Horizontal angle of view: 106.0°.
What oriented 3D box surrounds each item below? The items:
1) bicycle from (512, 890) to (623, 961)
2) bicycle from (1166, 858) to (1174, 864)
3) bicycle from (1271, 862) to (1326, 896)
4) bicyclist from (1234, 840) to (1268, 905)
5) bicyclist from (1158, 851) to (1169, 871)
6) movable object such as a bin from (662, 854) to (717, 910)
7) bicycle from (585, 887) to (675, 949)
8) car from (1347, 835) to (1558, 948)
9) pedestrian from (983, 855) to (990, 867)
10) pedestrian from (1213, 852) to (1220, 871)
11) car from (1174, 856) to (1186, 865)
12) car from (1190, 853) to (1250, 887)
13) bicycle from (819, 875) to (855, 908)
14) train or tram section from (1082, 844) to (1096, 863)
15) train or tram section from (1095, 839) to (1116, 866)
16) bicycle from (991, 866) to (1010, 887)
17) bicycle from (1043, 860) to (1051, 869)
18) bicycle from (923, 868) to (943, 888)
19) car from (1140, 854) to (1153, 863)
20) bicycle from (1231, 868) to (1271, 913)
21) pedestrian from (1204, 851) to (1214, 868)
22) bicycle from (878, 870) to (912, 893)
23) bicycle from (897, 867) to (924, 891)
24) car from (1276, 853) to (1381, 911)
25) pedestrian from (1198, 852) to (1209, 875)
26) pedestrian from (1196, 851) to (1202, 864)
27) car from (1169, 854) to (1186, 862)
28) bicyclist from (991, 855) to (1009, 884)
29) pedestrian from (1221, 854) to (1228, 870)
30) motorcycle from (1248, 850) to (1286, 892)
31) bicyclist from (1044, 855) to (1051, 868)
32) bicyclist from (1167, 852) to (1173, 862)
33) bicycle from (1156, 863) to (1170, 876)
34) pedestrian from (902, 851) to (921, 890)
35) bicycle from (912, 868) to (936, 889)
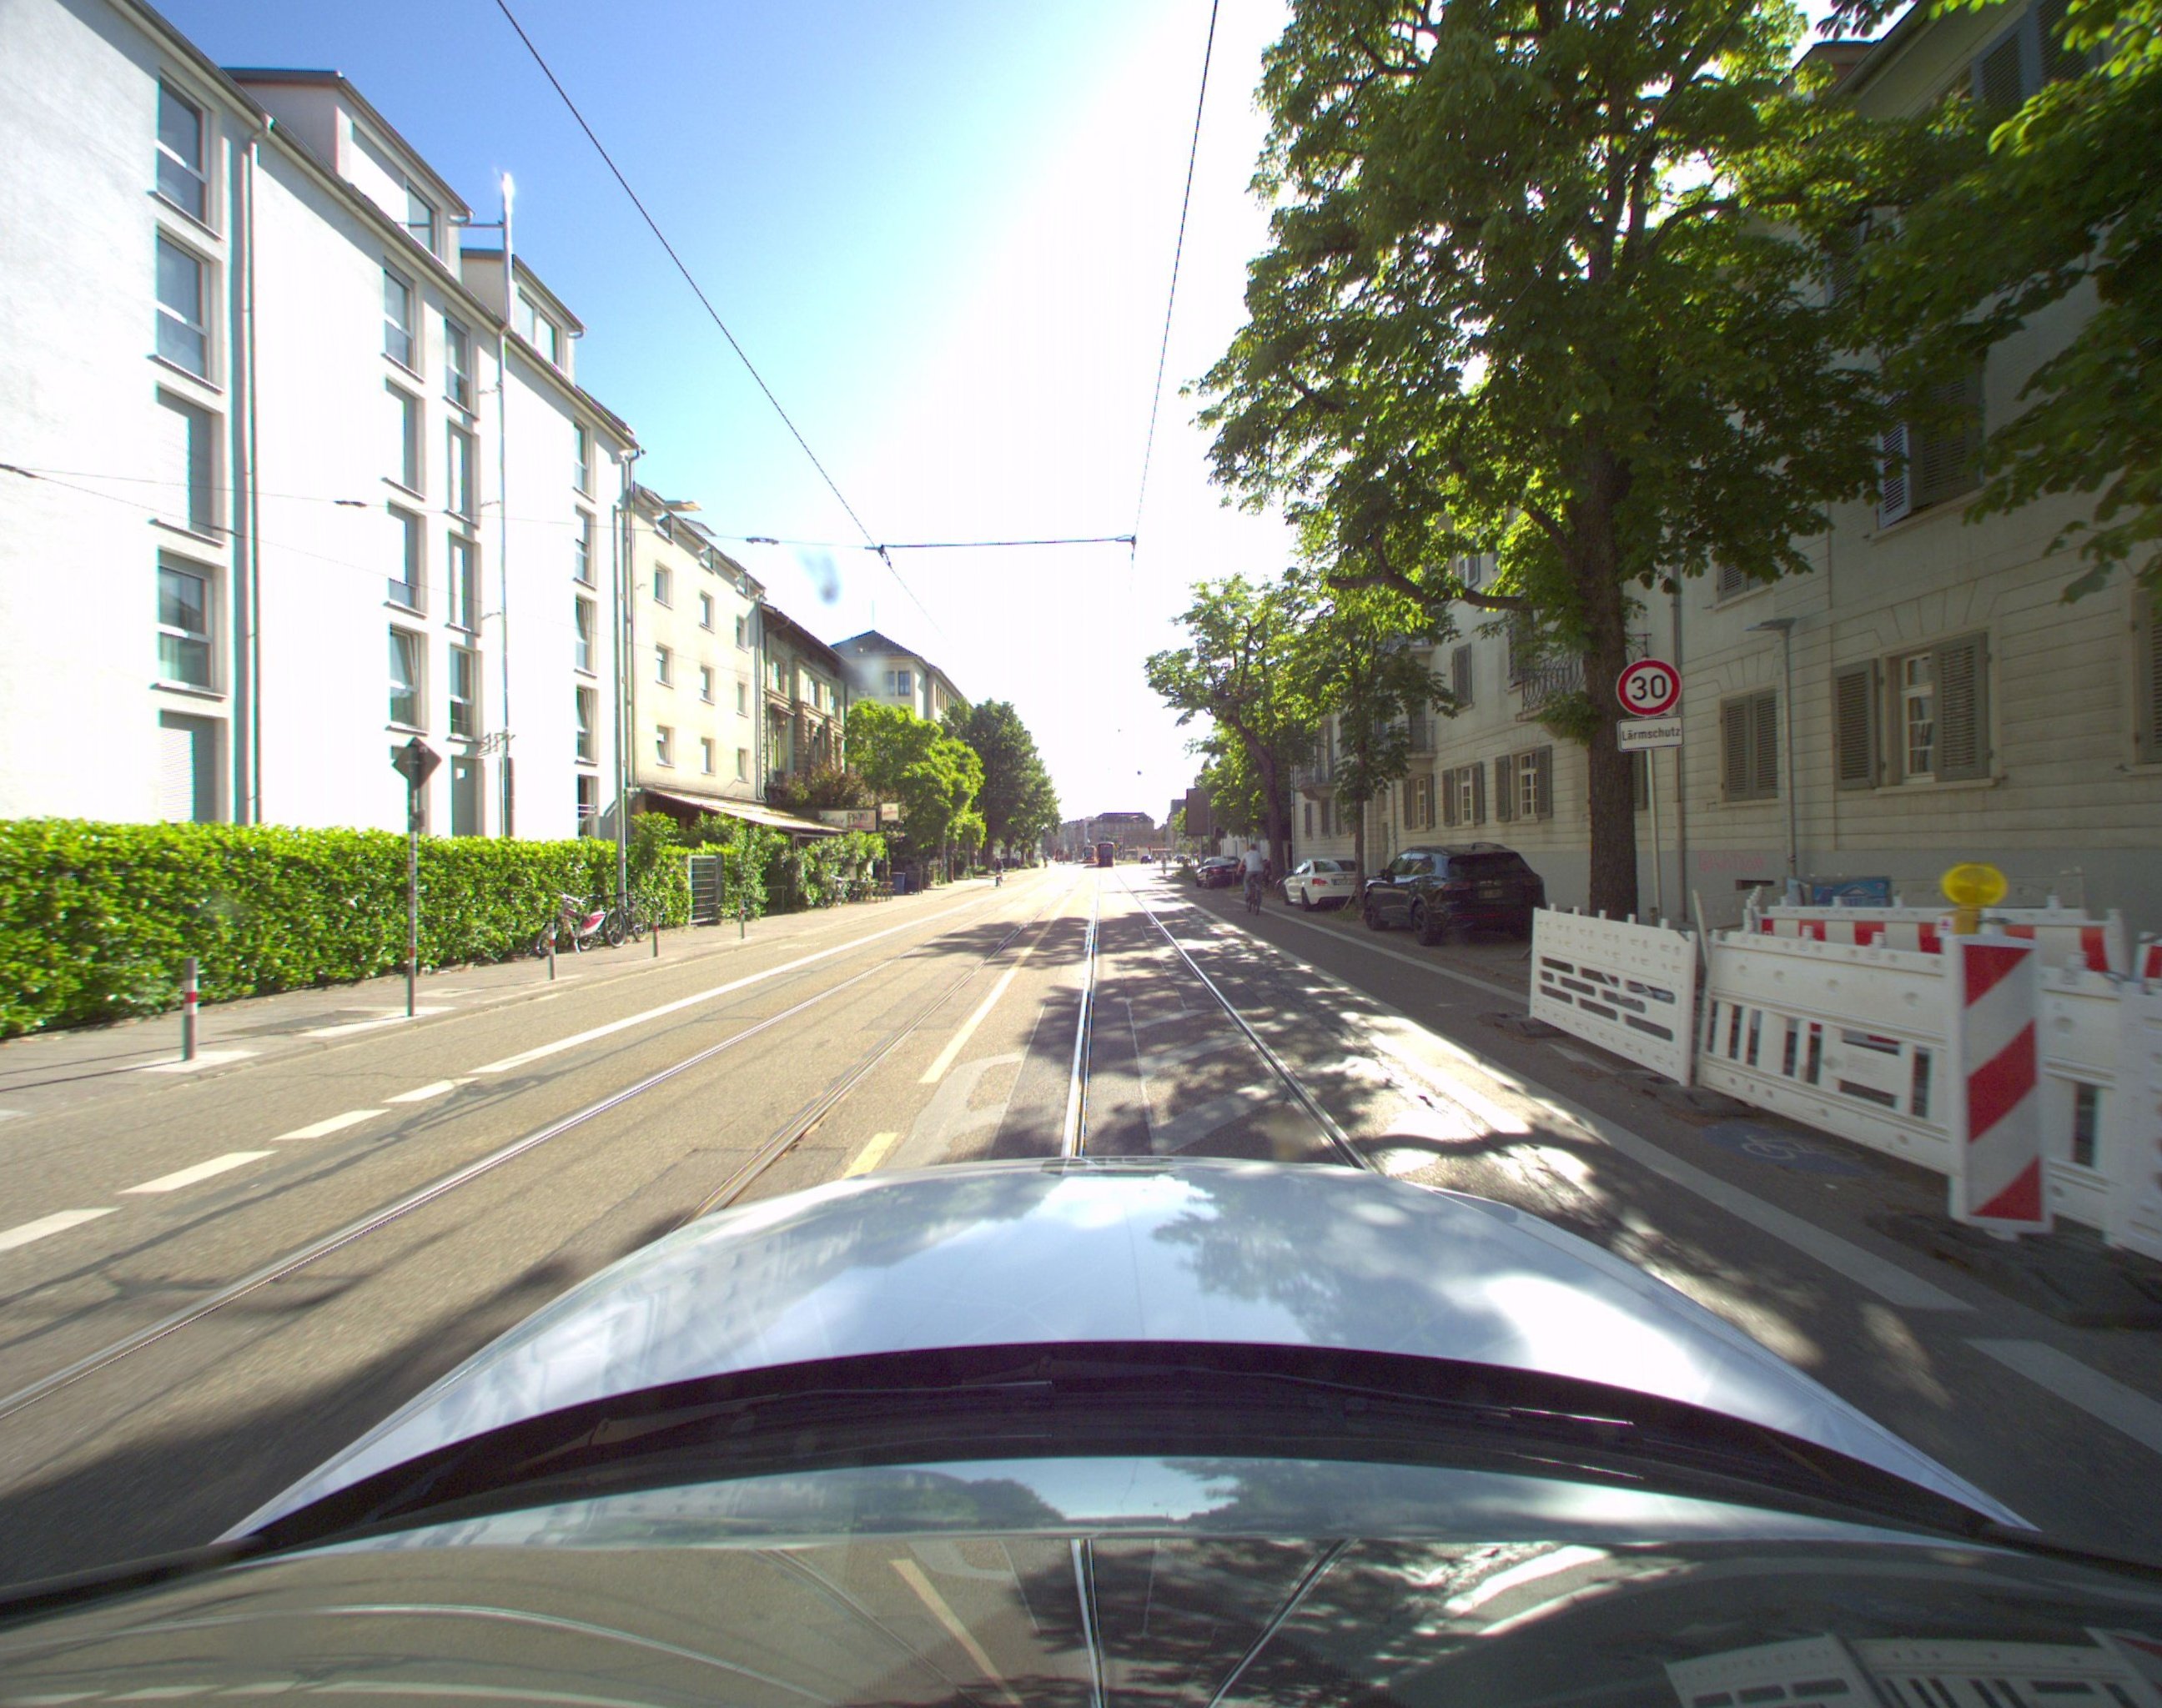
[{"bbox_3d":[-8.935,1.204,14.270,0.659,1.089,1.841,2,-1,2],"label":"bicycle"},{"bbox_3d":[15.512,1.173,141.994,0.698,1.055,2.327,1,1,26],"label":"bicycle"},{"bbox_3d":[7.231,0.833,27.125,1.613,1.043,0.686,-3,0,2],"label":"bicycle"},{"bbox_3d":[4.455,0.477,21.401,0.735,1.686,0.972,0,0,3],"label":"bicyclist"},{"bbox_3d":[7.004,0.577,69.244,0.699,1.675,1.107,1,0,21],"label":"bicyclist"},{"bbox_3d":[-10.595,0.741,22.079,0.804,1.456,1.258,-2,0,0],"label":"movable object such as a bin"},{"bbox_3d":[-8.895,1.234,16.161,0.659,1.089,1.841,2,-1,2],"label":"bicycle"},{"bbox_3d":[6.415,0.576,14.714,1.803,1.626,4.586,-3,0,2],"label":"car"},{"bbox_3d":[-12.227,0.900,105.449,0.698,1.635,0.759,1,0,1],"label":"pedestrian"},{"bbox_3d":[11.900,0.668,71.493,0.515,1.600,0.765,-1,-1,4],"label":"pedestrian"},{"bbox_3d":[17.034,1.037,140.452,1.781,1.511,3.717,0,0,4],"label":"car"},{"bbox_3d":[6.575,0.723,38.976,1.817,1.458,4.814,-3,0,-2],"label":"car"},{"bbox_3d":[-8.462,1.282,28.283,0.636,1.059,1.744,1,0,3],"label":"bicycle"},{"bbox_3d":[1.739,-0.180,167.329,2.732,3.651,13.787,-1,0,1],"label":"train or tram section"},{"bbox_3d":[3.444,-0.224,116.938,2.732,3.651,13.787,-1,0,1],"label":"train or tram section"},{"bbox_3d":[-4.643,1.298,46.934,0.742,1.082,1.900,-4,0,3],"label":"bicycle"},{"bbox_3d":[-4.373,1.362,105.808,0.683,1.124,1.934,-3,0,6],"label":"bicycle"},{"bbox_3d":[-8.211,1.322,45.312,0.587,1.045,1.907,1,0,5],"label":"bicycle"},{"bbox_3d":[11.247,0.742,139.342,1.777,1.604,3.726,0,0,13],"label":"car"},{"bbox_3d":[4.458,0.923,21.475,0.735,1.094,2.113,0,0,3],"label":"bicycle"},{"bbox_3d":[12.398,0.516,78.709,0.853,1.641,0.994,-2,-2,4],"label":"pedestrian"},{"bbox_3d":[-8.898,1.314,39.010,0.631,1.045,2.031,-1,0,18],"label":"bicycle"},{"bbox_3d":[-8.495,1.226,40.716,0.642,1.143,1.910,1,0,10],"label":"bicycle"},{"bbox_3d":[6.673,0.695,22.430,1.716,1.382,4.359,-3,0,3],"label":"car"},{"bbox_3d":[10.103,0.771,67.350,0.681,1.849,0.955,-2,0,0],"label":"pedestrian"},{"bbox_3d":[17.005,0.479,117.287,0.635,1.903,1.135,-3,0,3],"label":"pedestrian"},{"bbox_3d":[19.107,0.801,161.657,1.685,1.643,3.736,0,0,36],"label":"car"},{"bbox_3d":[-4.671,0.908,46.937,0.742,1.599,1.118,-4,-1,3],"label":"bicyclist"},{"bbox_3d":[12.567,0.733,71.462,0.515,1.404,0.765,-1,-1,4],"label":"pedestrian"},{"bbox_3d":[7.067,0.631,31.105,0.910,1.488,2.681,-3,0,3],"label":"motorcycle"},{"bbox_3d":[-4.398,0.925,105.793,0.683,1.644,1.239,-3,-1,6],"label":"bicyclist"},{"bbox_3d":[15.559,0.544,142.058,0.698,1.700,0.993,1,1,26],"label":"bicyclist"},{"bbox_3d":[6.997,1.323,69.248,0.699,1.104,1.726,1,0,21],"label":"bicycle"},{"bbox_3d":[-8.123,0.786,38.983,0.570,1.831,0.693,-1,-1,20],"label":"pedestrian"},{"bbox_3d":[-8.320,1.294,43.289,0.586,1.045,1.910,0,0,10],"label":"bicycle"}]
